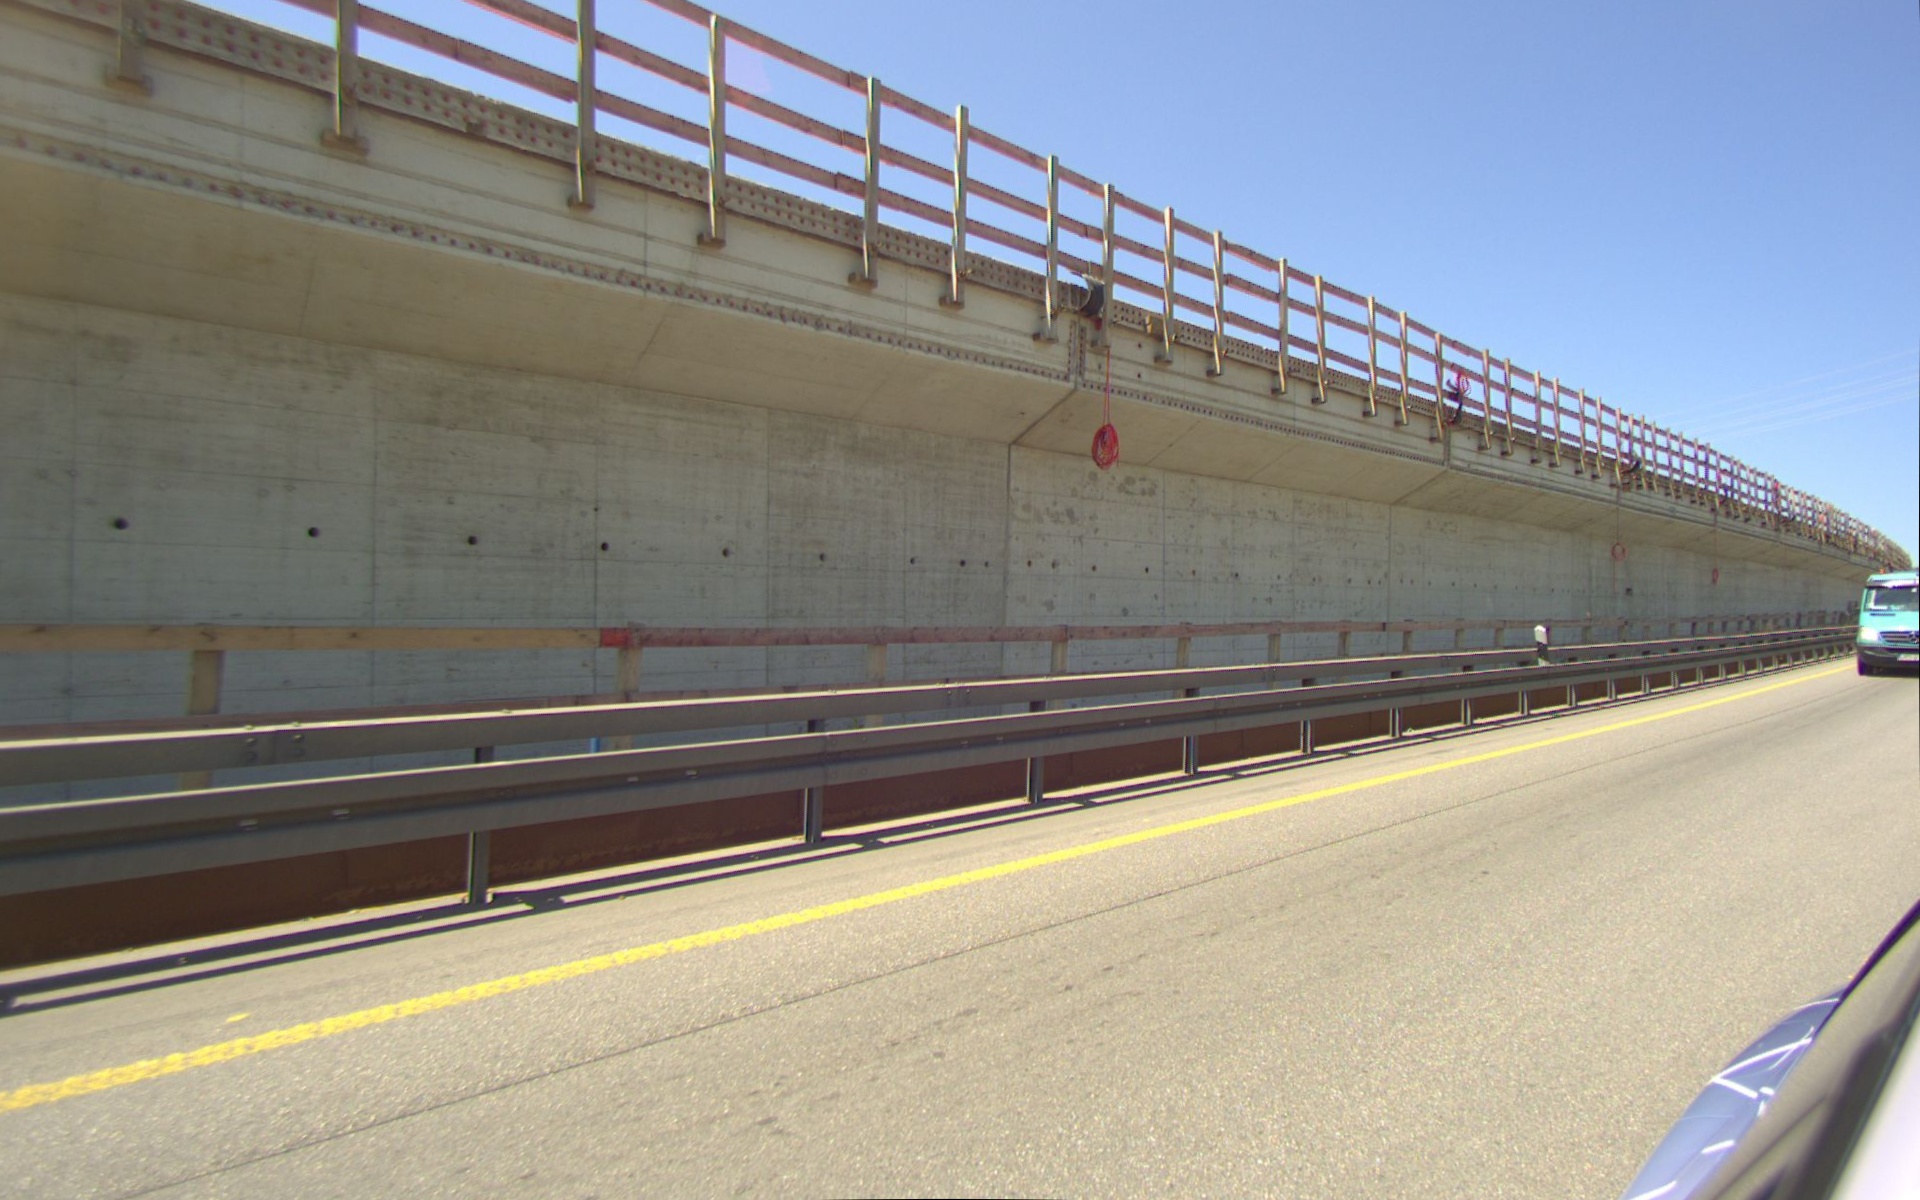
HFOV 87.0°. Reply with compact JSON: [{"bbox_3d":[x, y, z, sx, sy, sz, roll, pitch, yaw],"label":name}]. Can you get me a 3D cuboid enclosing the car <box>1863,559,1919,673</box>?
[{"bbox_3d":[22.922,0.314,23.555,7.086,2.412,1.965,0,-2,-42],"label":"car"}]
